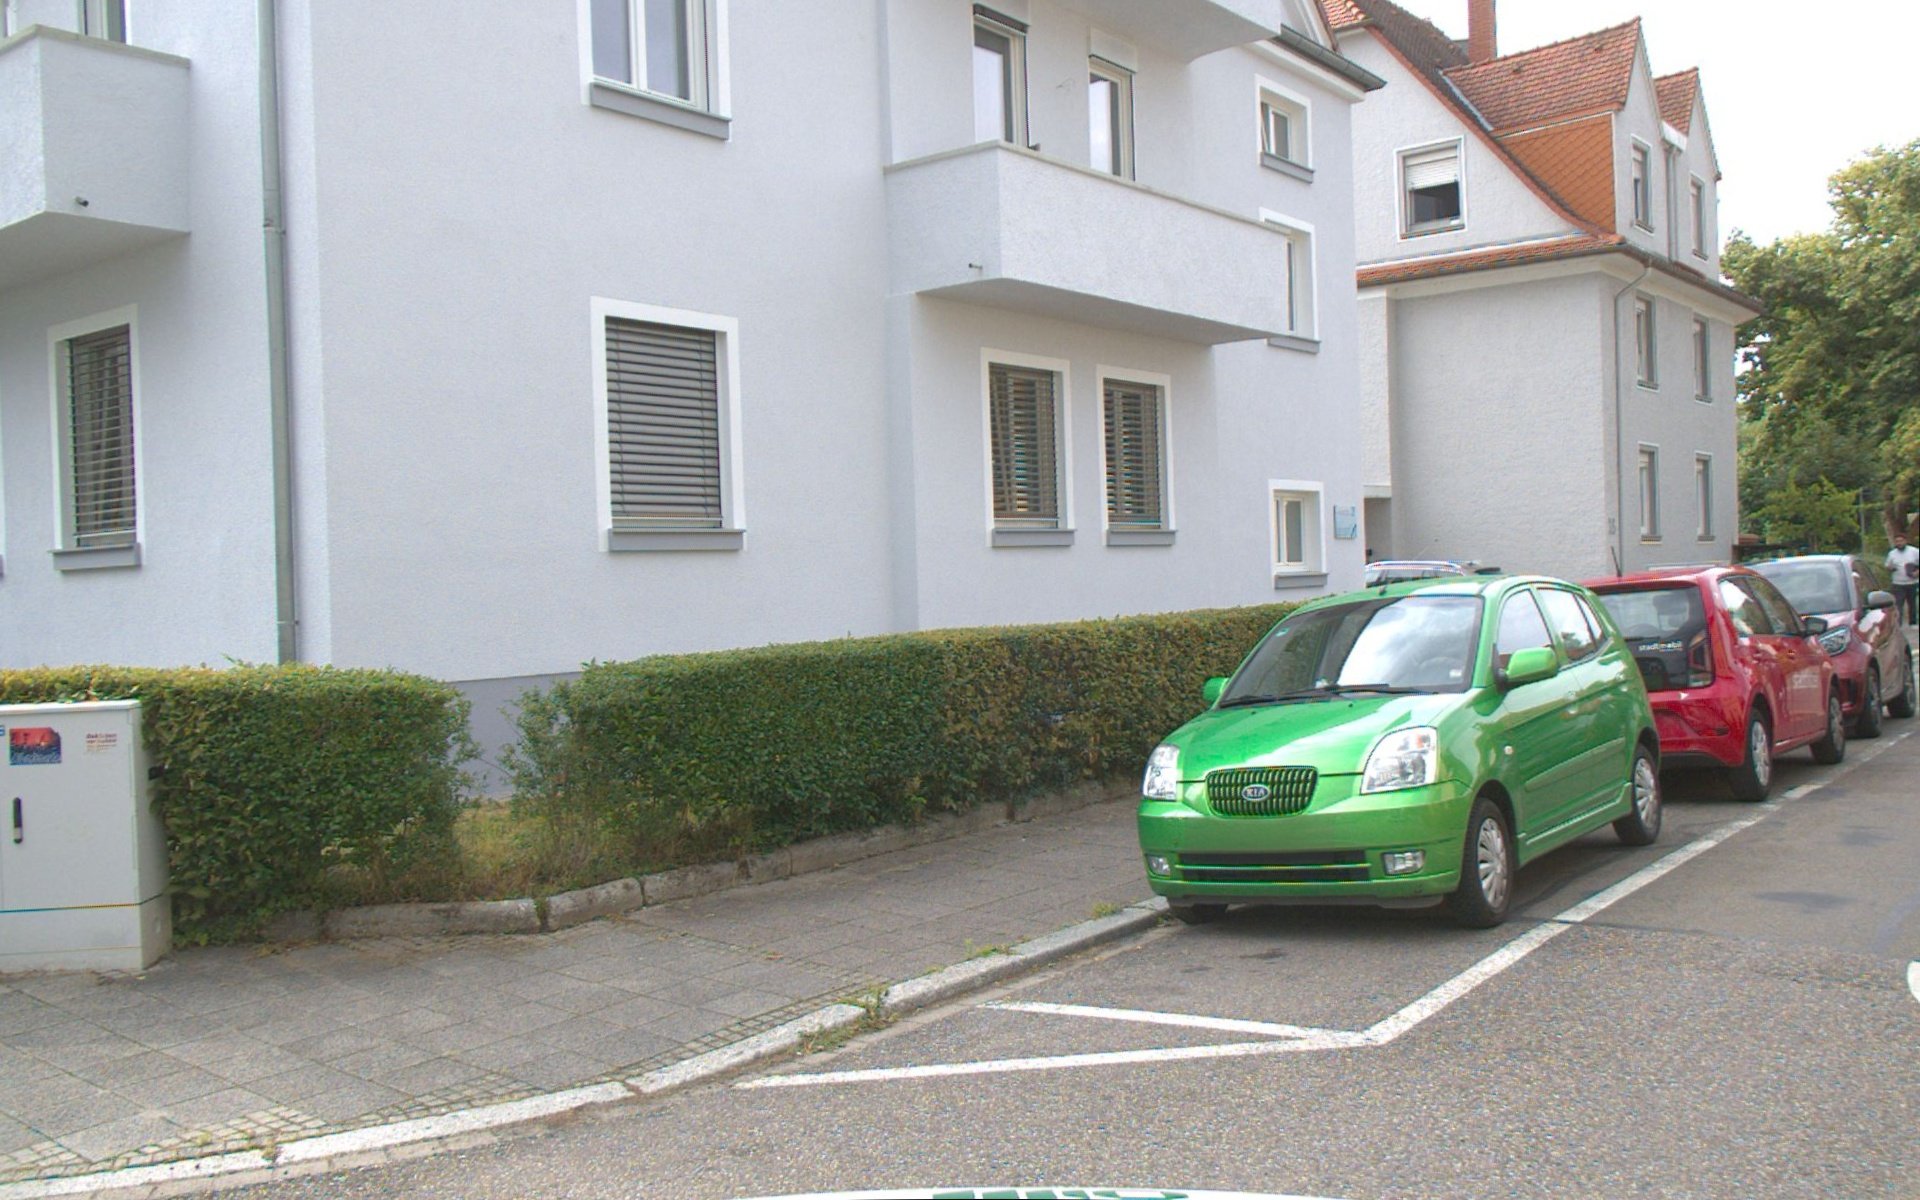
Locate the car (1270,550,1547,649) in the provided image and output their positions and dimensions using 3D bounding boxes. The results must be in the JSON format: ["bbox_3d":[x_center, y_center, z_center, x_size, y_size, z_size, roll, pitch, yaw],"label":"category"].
[{"bbox_3d":[7.342,0.008,27.201,3.924,1.489,1.991,-2,1,39],"label":"car"}]

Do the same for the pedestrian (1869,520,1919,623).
[{"bbox_3d":[17.856,-0.543,31.374,0.867,1.911,1.074,-2,1,38],"label":"pedestrian"}]

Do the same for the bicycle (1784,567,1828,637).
[{"bbox_3d":[14.601,0.020,28.524,0.414,1.122,2.109,-2,1,34],"label":"bicycle"}]

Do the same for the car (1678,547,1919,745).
[{"bbox_3d":[7.856,0.355,14.984,1.619,1.521,3.467,-6,-2,37],"label":"car"}]

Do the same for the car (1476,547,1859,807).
[{"bbox_3d":[5.114,0.474,11.722,1.619,1.521,3.467,-6,-2,37],"label":"car"}]

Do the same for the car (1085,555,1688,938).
[{"bbox_3d":[2.286,0.587,8.248,1.619,1.446,3.467,-6,-2,37],"label":"car"}]
